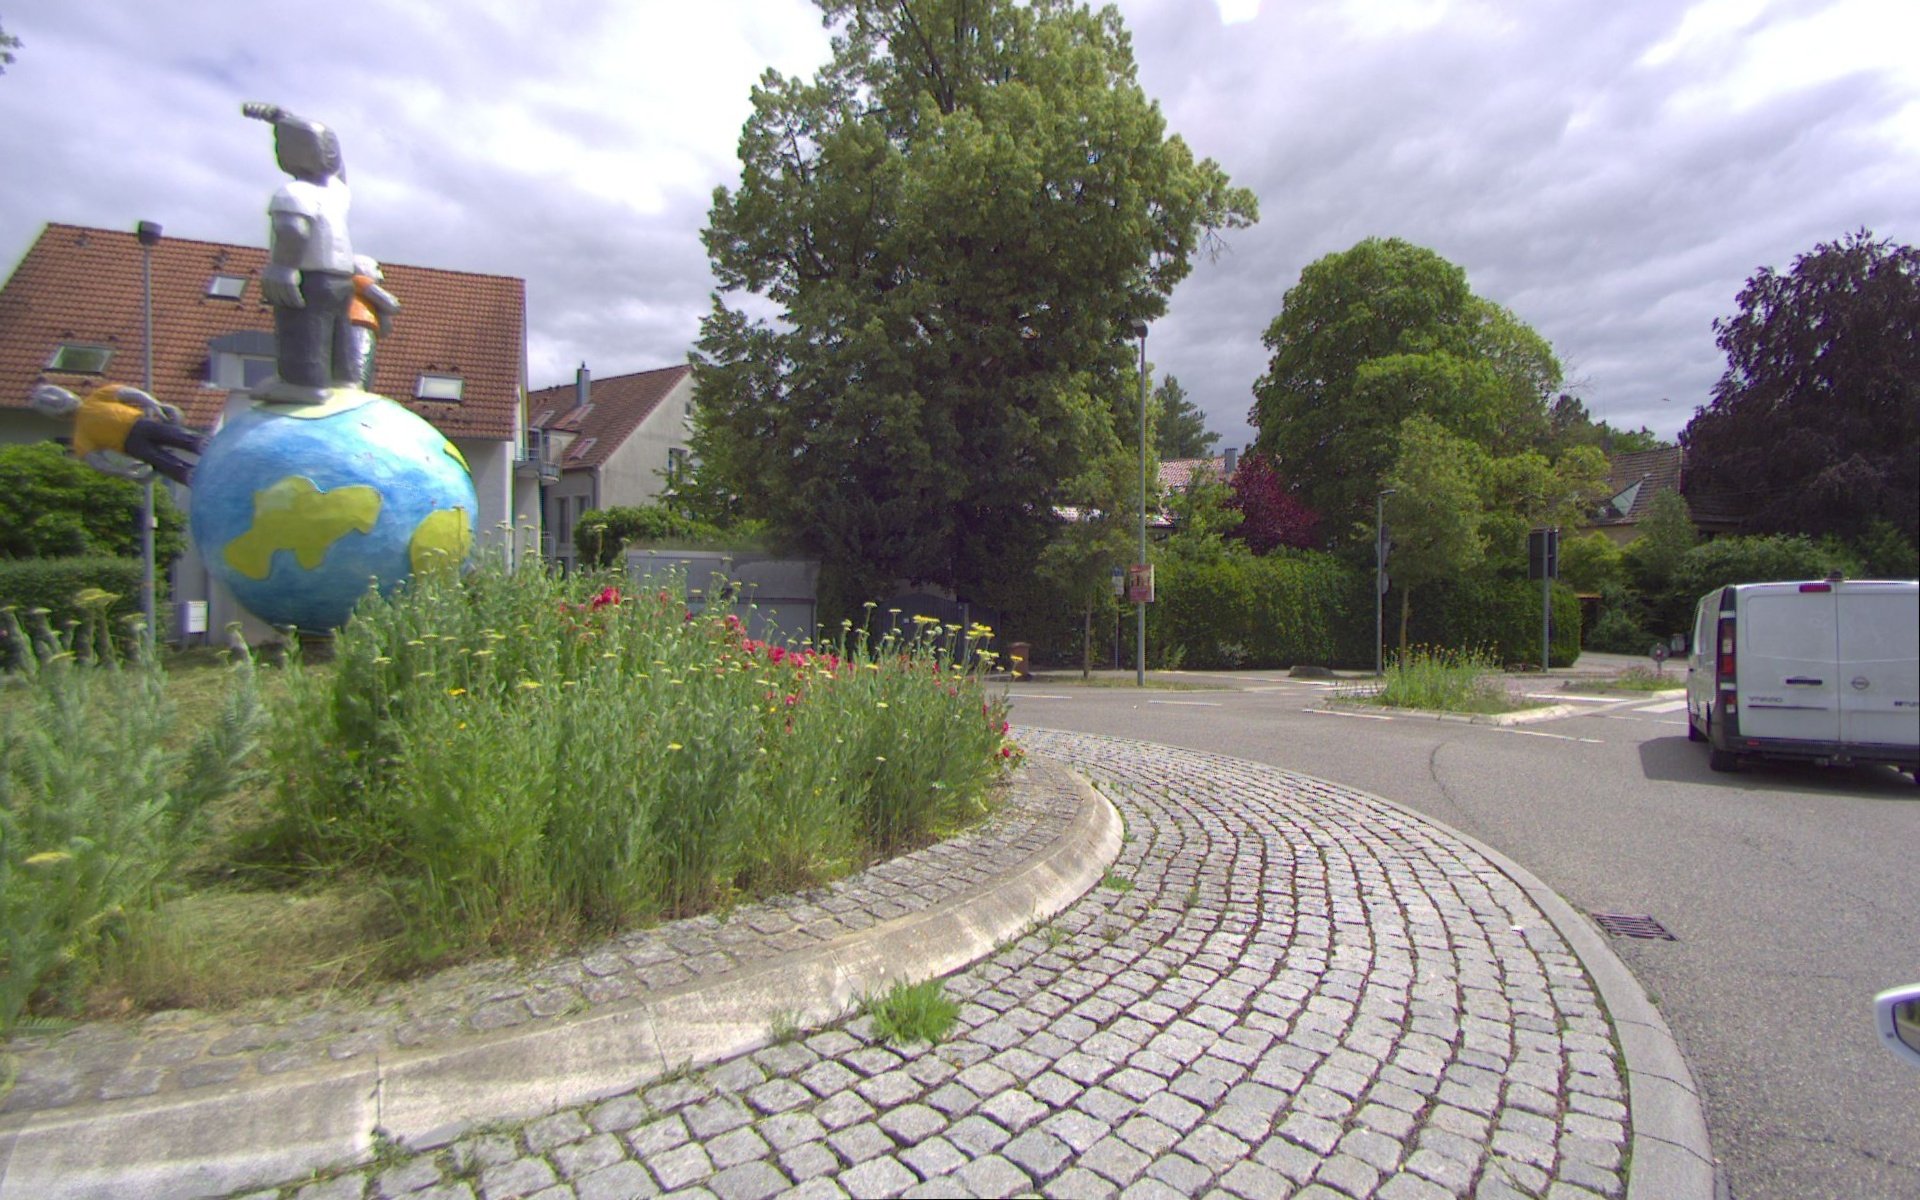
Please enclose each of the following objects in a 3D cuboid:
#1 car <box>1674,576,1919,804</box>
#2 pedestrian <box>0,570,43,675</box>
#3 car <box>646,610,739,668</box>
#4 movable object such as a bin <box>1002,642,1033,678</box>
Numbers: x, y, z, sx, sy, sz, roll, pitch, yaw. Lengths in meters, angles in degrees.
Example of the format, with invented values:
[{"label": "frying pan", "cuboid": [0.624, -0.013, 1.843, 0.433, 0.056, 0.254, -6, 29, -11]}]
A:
[{"label": "car", "cuboid": [9.455, 0.751, 11.319, 2.006, 1.972, 4.979, 2, 3, 33]}, {"label": "pedestrian", "cuboid": [-19.022, 0.437, 19.872, 1.026, 2.040, 0.869, 1, -1, -24]}, {"label": "car", "cuboid": [-7.353, 1.058, 27.964, 1.963, 1.505, 3.996, 0, -1, -7]}, {"label": "movable object such as a bin", "cuboid": [1.412, 1.482, 24.825, 0.628, 0.874, 0.631, 1, -1, -10]}]
